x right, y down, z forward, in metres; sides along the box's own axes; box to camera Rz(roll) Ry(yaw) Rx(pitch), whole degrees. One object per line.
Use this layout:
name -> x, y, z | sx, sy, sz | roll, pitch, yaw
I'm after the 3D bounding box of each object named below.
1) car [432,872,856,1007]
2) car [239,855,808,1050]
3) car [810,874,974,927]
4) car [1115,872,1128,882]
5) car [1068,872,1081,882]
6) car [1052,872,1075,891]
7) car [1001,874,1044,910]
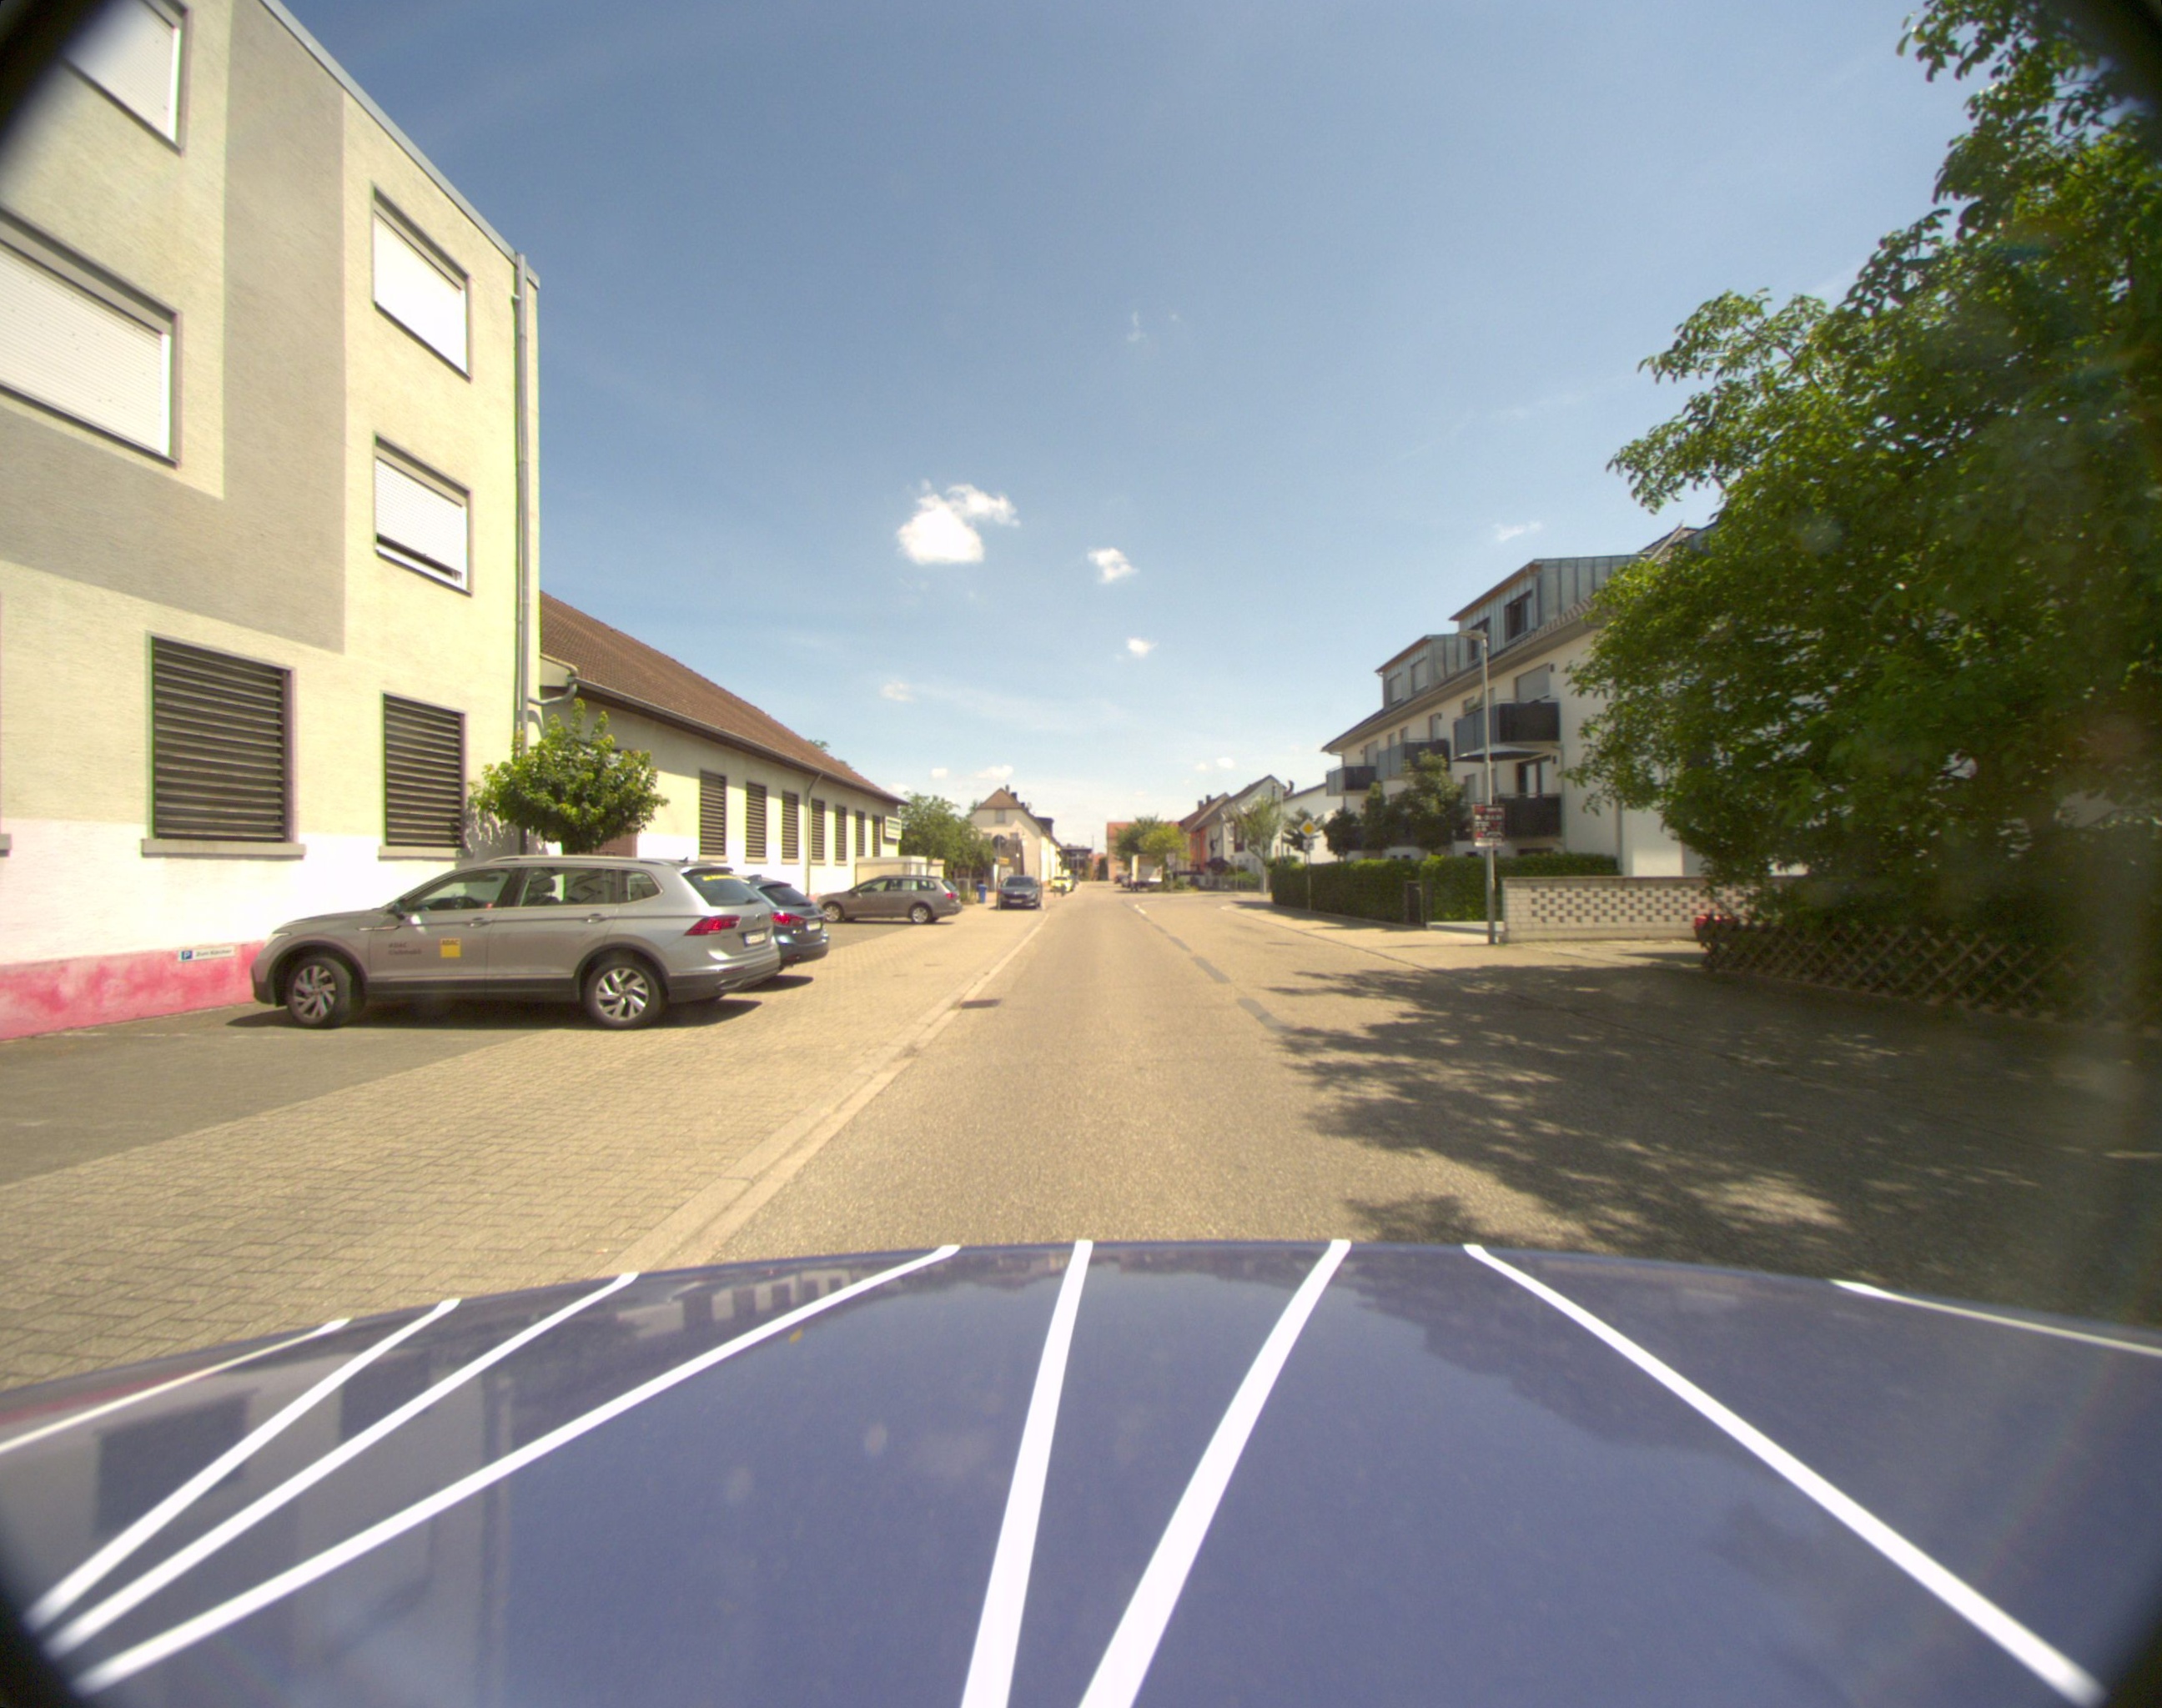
car -> -5.615, 1.060, 10.248 | 4.512, 1.510, 2.000 | 2, -1, 0
car -> -5.475, 0.931, 7.973 | 4.465, 1.687, 1.923 | 2, -1, -1
car -> -5.750, 1.415, 23.547 | 4.537, 1.445, 1.918 | 2, -1, 1
car -> 6.371, 3.649, 119.640 | 1.720, 1.491, 4.216 | 2, -1, 0
car -> -0.987, 3.425, 113.823 | 1.720, 1.491, 4.216 | 4, -1, 1
car -> -1.462, 2.275, 64.094 | 1.720, 1.389, 4.216 | 4, -1, 1
car -> -2.597, 1.658, 34.317 | 1.632, 1.480, 4.140 | 1, -1, 0
